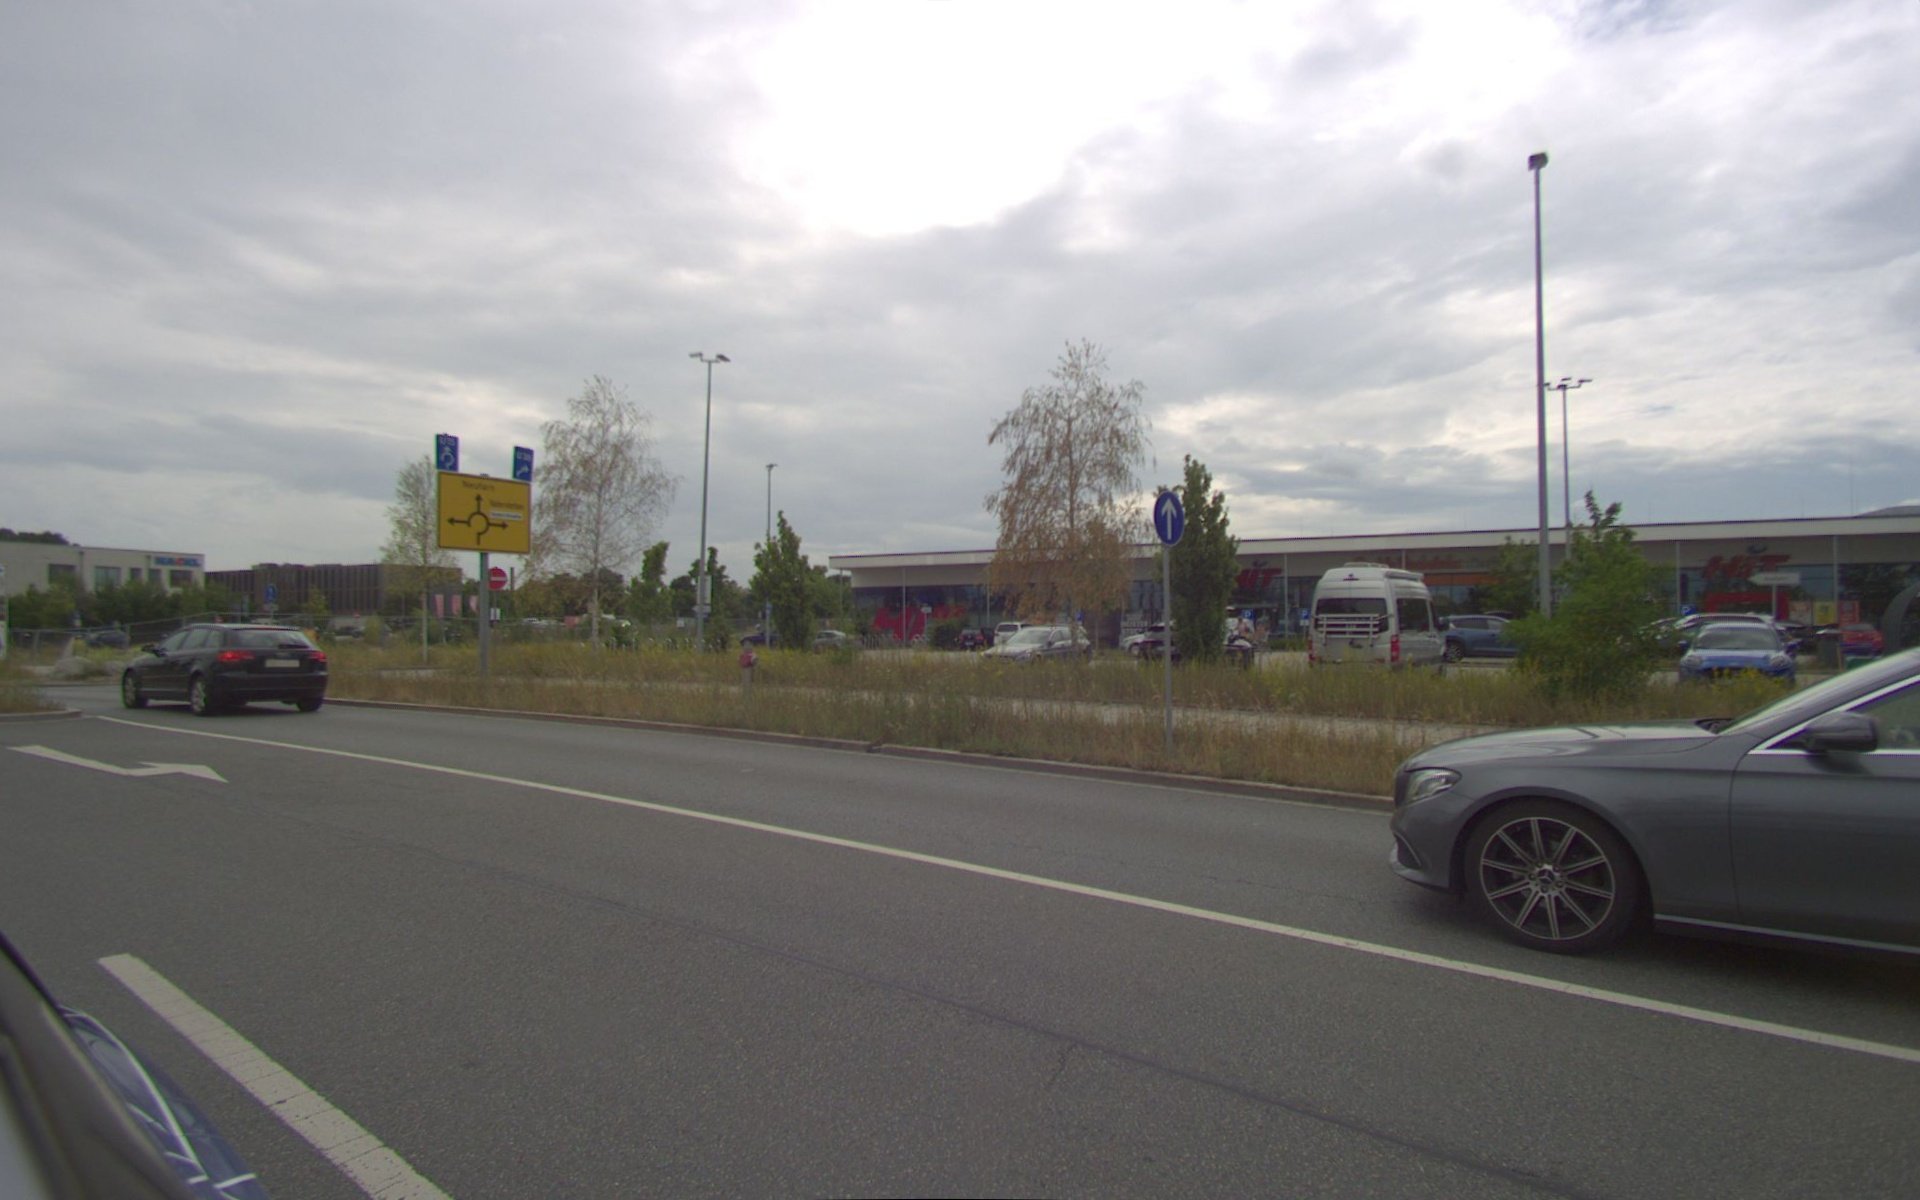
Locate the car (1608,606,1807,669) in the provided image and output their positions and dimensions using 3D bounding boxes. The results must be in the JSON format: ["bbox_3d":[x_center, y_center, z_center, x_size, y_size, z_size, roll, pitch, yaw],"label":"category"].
[{"bbox_3d":[24.213,1.201,33.053,4.904,1.914,2.138,-1,-2,29],"label":"car"}]

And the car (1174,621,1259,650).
[{"bbox_3d":[13.743,1.892,54.287,3.986,1.453,1.978,-1,-2,32],"label":"car"}]

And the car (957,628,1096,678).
[{"bbox_3d":[2.082,1.531,30.353,2.137,1.377,4.527,-1,-2,35],"label":"car"}]

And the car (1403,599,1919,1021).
[{"bbox_3d":[4.466,0.761,3.905,4.762,1.501,1.767,-1,-3,40],"label":"car"}]

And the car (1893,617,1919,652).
[{"bbox_3d":[41.235,1.433,42.170,1.989,1.493,4.025,-1,-2,19],"label":"car"}]

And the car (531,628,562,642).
[{"bbox_3d":[-55.741,4.726,136.491,1.978,1.730,3.988,-1,-1,10],"label":"car"}]

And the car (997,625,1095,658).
[{"bbox_3d":[3.874,1.847,45.406,4.036,1.453,1.837,-1,-2,21],"label":"car"}]

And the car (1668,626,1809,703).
[{"bbox_3d":[15.501,1.196,20.080,2.010,1.314,4.280,-2,-2,40],"label":"car"}]

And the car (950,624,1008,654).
[{"bbox_3d":[1.195,2.356,61.315,1.991,1.741,3.962,-1,-2,28],"label":"car"}]

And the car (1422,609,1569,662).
[{"bbox_3d":[18.609,1.231,35.419,4.363,1.765,1.895,-1,-2,24],"label":"car"}]

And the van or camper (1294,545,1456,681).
[{"bbox_3d":[9.969,0.320,23.989,2.239,2.821,5.799,0,-1,36],"label":"van or camper"}]

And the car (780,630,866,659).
[{"bbox_3d":[-7.225,2.347,53.236,4.171,1.463,1.816,-1,-2,25],"label":"car"}]

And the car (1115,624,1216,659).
[{"bbox_3d":[8.765,1.756,43.134,3.882,1.453,1.874,-1,-2,26],"label":"car"}]

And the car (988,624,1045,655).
[{"bbox_3d":[3.379,2.320,59.946,1.944,1.741,3.962,-1,-2,28],"label":"car"}]

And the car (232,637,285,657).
[{"bbox_3d":[-66.279,4.410,95.689,1.978,1.730,3.988,-1,-1,10],"label":"car"}]

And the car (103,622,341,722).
[{"bbox_3d":[-12.246,1.117,16.738,4.221,1.456,1.705,-1,-2,32],"label":"car"}]

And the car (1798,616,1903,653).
[{"bbox_3d":[38.523,1.477,43.907,1.989,1.493,4.025,-1,-2,19],"label":"car"}]

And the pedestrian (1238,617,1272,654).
[{"bbox_3d":[12.867,1.546,44.156,1.243,1.619,0.888,-1,-2,7],"label":"pedestrian"}]

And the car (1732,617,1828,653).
[{"bbox_3d":[35.852,1.506,44.393,1.989,1.493,4.025,-1,-2,19],"label":"car"}]

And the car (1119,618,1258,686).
[{"bbox_3d":[6.073,1.304,26.638,2.082,1.646,3.905,-2,-2,38],"label":"car"}]
